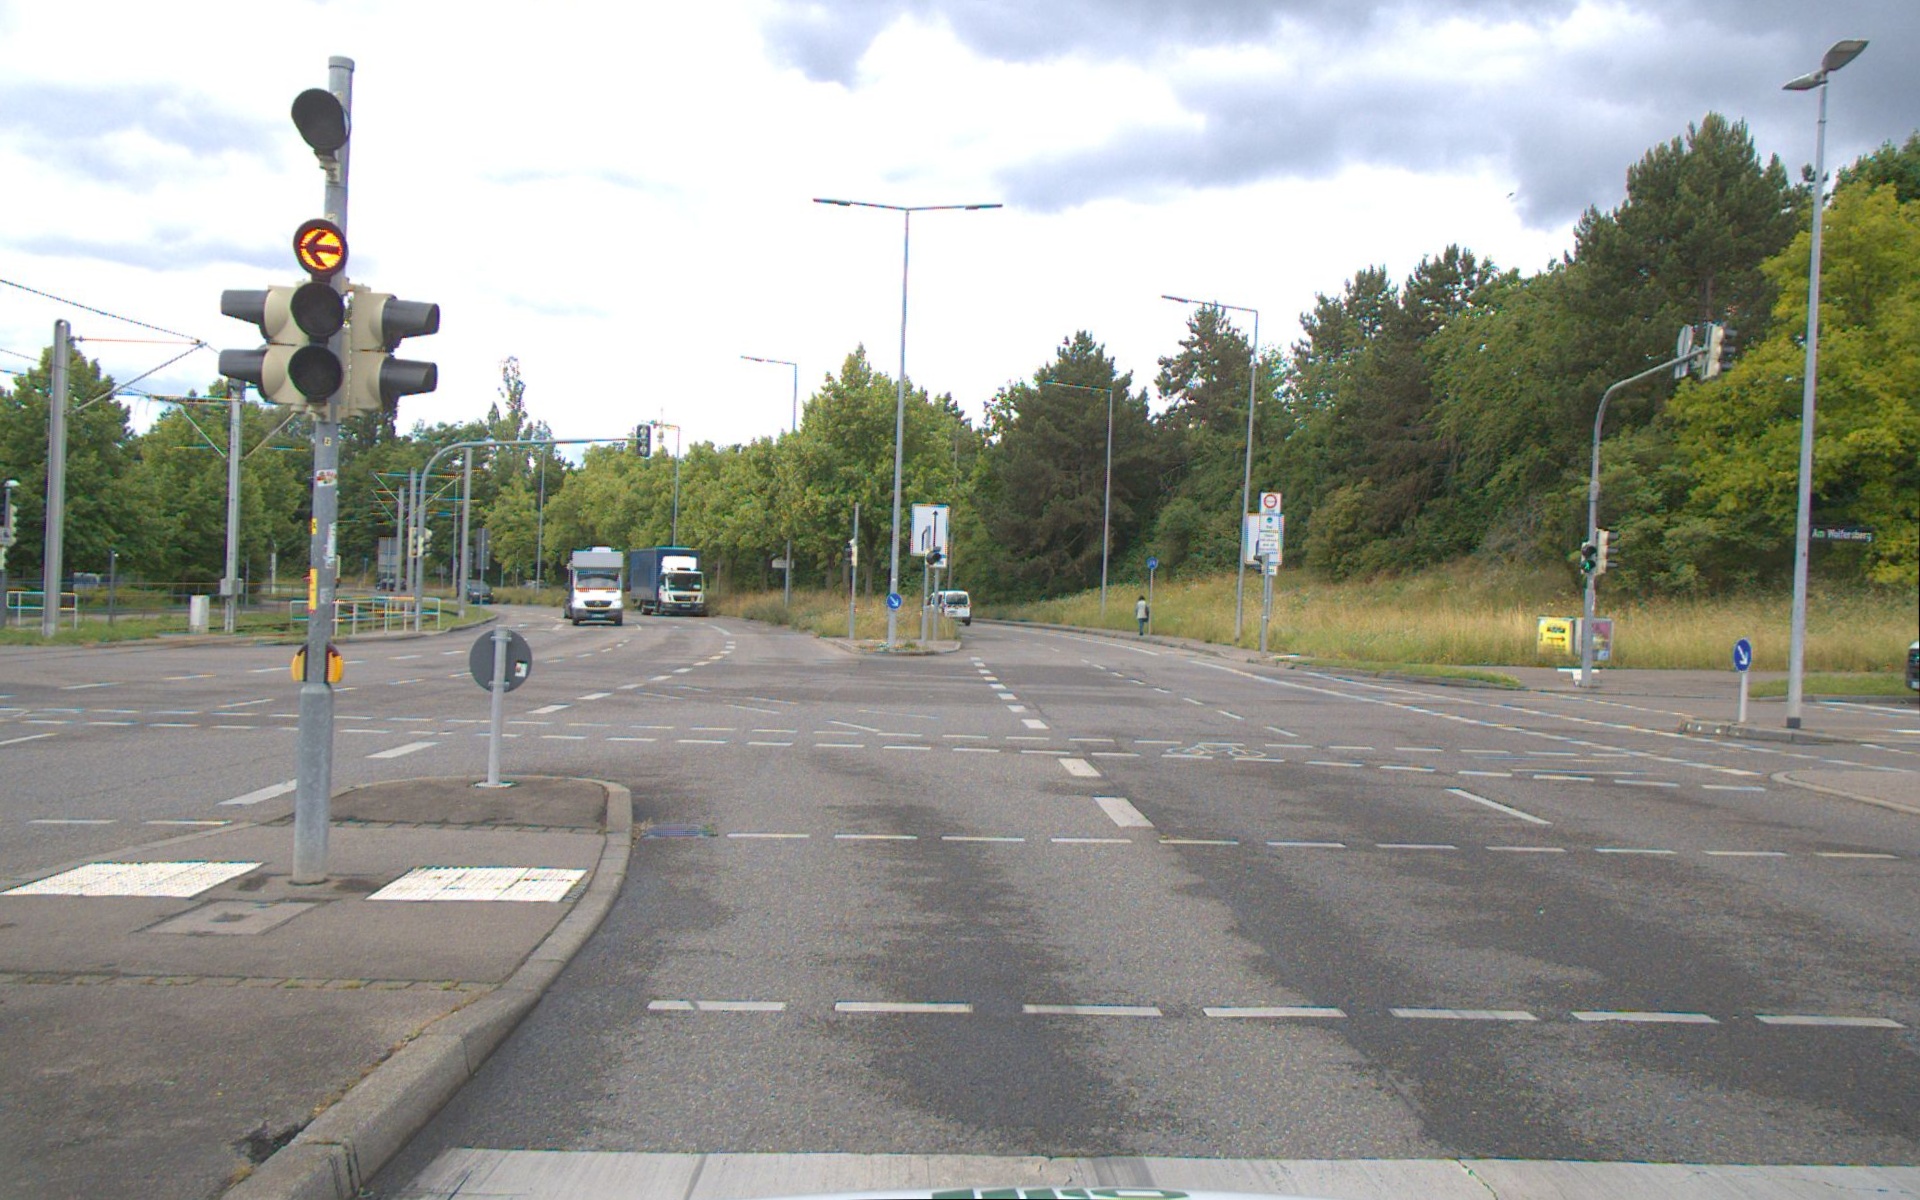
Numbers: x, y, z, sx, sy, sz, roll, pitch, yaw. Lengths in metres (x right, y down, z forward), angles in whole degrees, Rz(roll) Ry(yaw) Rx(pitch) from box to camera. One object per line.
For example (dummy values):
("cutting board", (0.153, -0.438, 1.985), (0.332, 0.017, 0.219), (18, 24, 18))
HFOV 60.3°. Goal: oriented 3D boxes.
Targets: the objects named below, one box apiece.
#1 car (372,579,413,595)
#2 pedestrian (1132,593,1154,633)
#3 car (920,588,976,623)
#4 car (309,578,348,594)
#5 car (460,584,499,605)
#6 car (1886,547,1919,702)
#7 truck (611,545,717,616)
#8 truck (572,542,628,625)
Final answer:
("car", (-56.701, -1.280, 165.366), (3.938, 1.573, 1.780), (1, 0, 31))
("pedestrian", (7.604, 0.529, 68.728), (0.797, 1.656, 0.790), (1, 0, -1))
("car", (-0.699, 0.315, 89.422), (1.960, 1.833, 4.821), (1, 0, -14))
("car", (-65.265, -1.411, 170.833), (3.940, 1.573, 1.779), (1, 0, 33))
("car", (-37.848, -0.484, 130.156), (1.765, 1.471, 4.476), (-1, 3, -33))
("car", (20.339, 0.465, 30.099), (5.772, 2.830, 2.135), (0, 0, -1))
("truck", (-17.459, -1.085, 96.713), (3.010, 3.826, 12.713), (1, 0, -25))
("truck", (-14.611, -0.642, 66.945), (2.079, 3.190, 5.879), (1, 0, -13))
